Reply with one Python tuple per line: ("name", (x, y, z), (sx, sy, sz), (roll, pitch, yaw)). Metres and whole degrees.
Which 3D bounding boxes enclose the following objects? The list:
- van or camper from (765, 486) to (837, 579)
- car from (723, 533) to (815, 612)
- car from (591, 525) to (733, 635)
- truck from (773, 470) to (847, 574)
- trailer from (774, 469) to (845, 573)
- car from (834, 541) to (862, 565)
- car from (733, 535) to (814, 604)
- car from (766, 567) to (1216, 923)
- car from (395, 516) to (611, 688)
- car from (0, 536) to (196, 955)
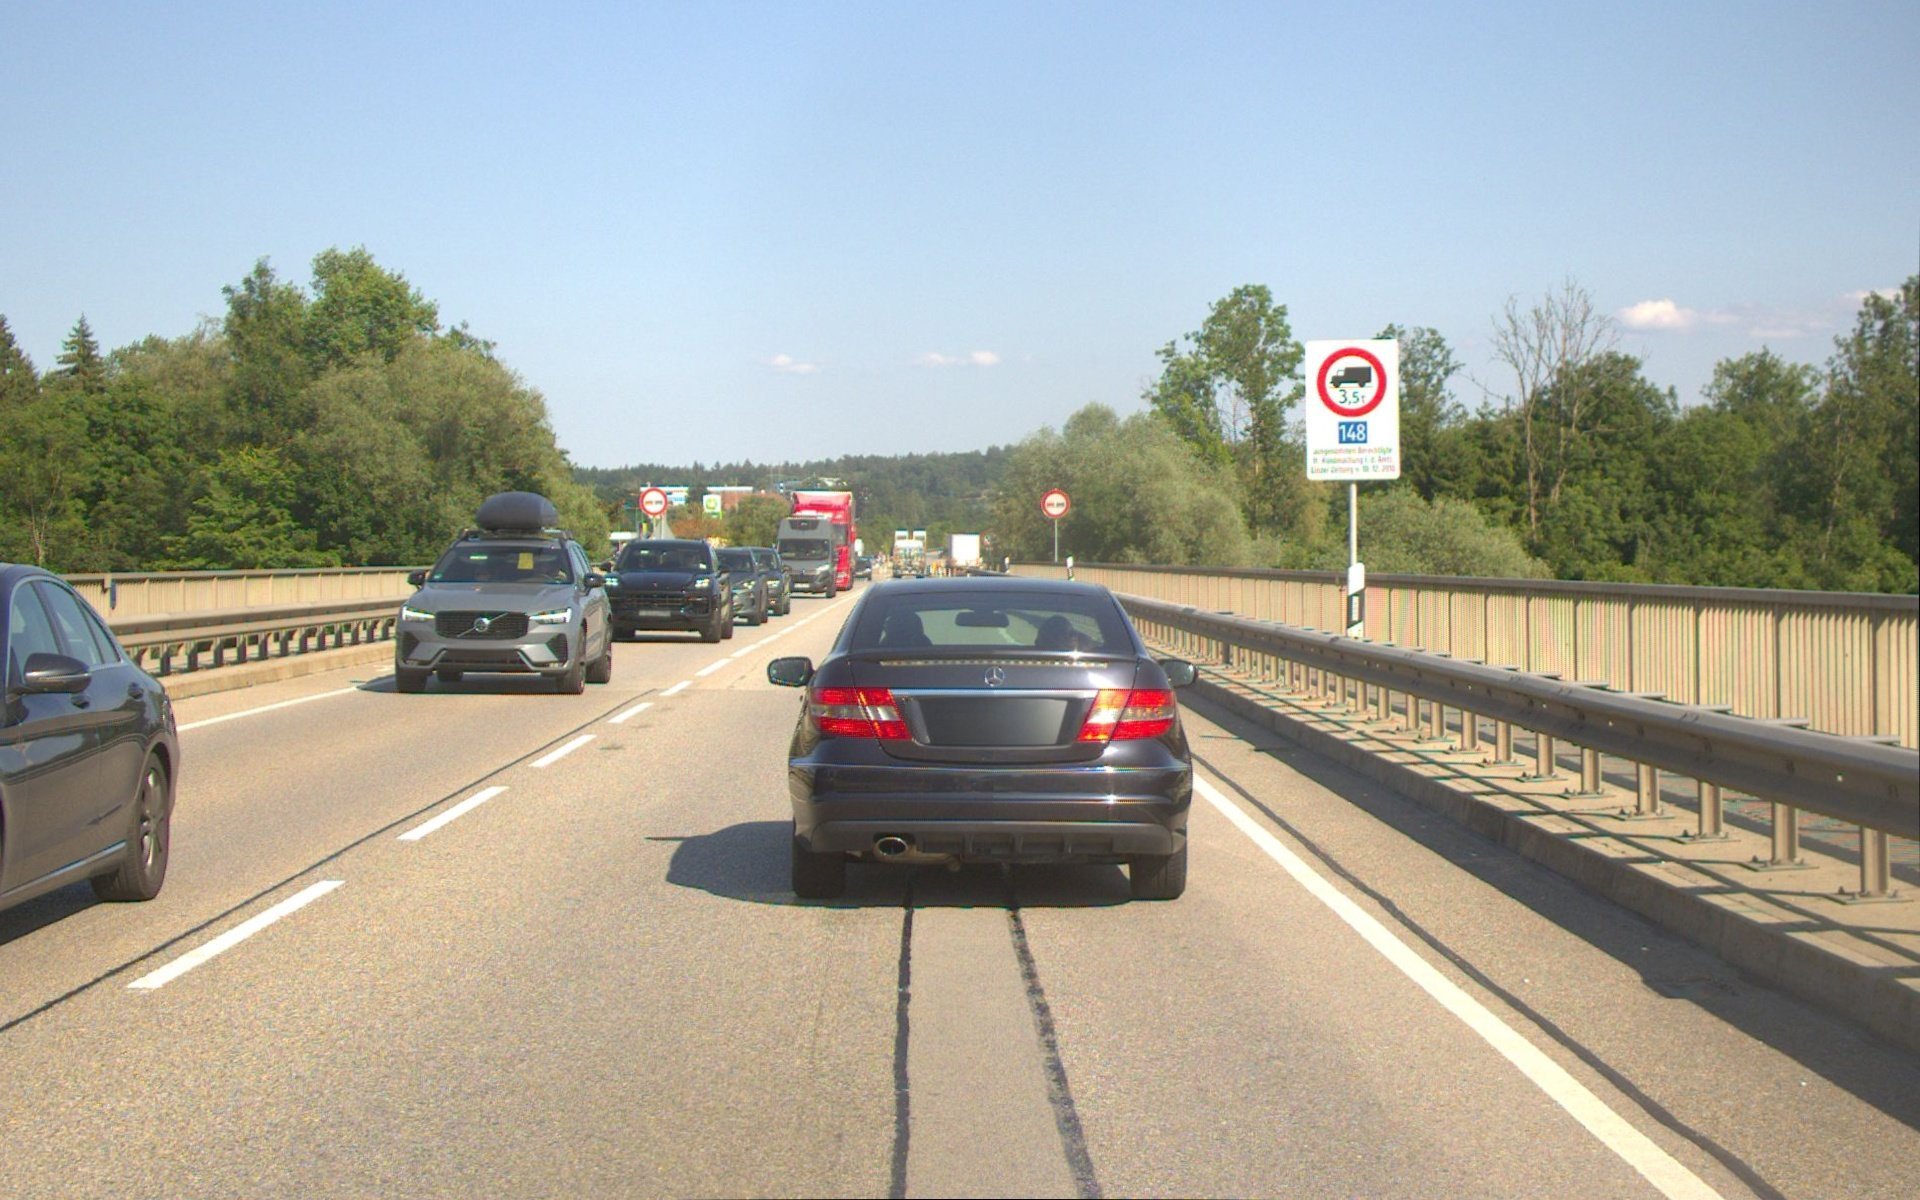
("van or camper", (-5.361, -2.277, 116.881), (2.315, 3.040, 6.818), (1, 1, -2))
("car", (-3.958, -0.590, 70.842), (1.806, 1.572, 4.202), (1, 1, -4))
("car", (-4.890, -0.373, 56.939), (2.053, 1.647, 4.722), (2, 1, -2))
("truck", (-6.163, -3.201, 141.868), (2.908, 4.170, 5.714), (1, 1, -2))
("trailer", (-6.632, -3.408, 149.837), (2.907, 4.287, 14.304), (1, 1, -3))
("car", (-7.789, -3.256, 239.682), (1.841, 1.636, 4.577), (-1, 1, -1))
("car", (-4.481, -0.750, 82.427), (1.874, 1.578, 4.275), (1, 1, -3))
("car", (0.140, 0.562, 15.782), (1.793, 1.371, 4.000), (1, 1, 1))
("car", (-4.831, -0.021, 36.890), (1.854, 1.716, 4.566), (1, 1, -2))
("car", (-4.222, 0.479, 12.961), (1.765, 1.442, 4.457), (1, 1, -1))
